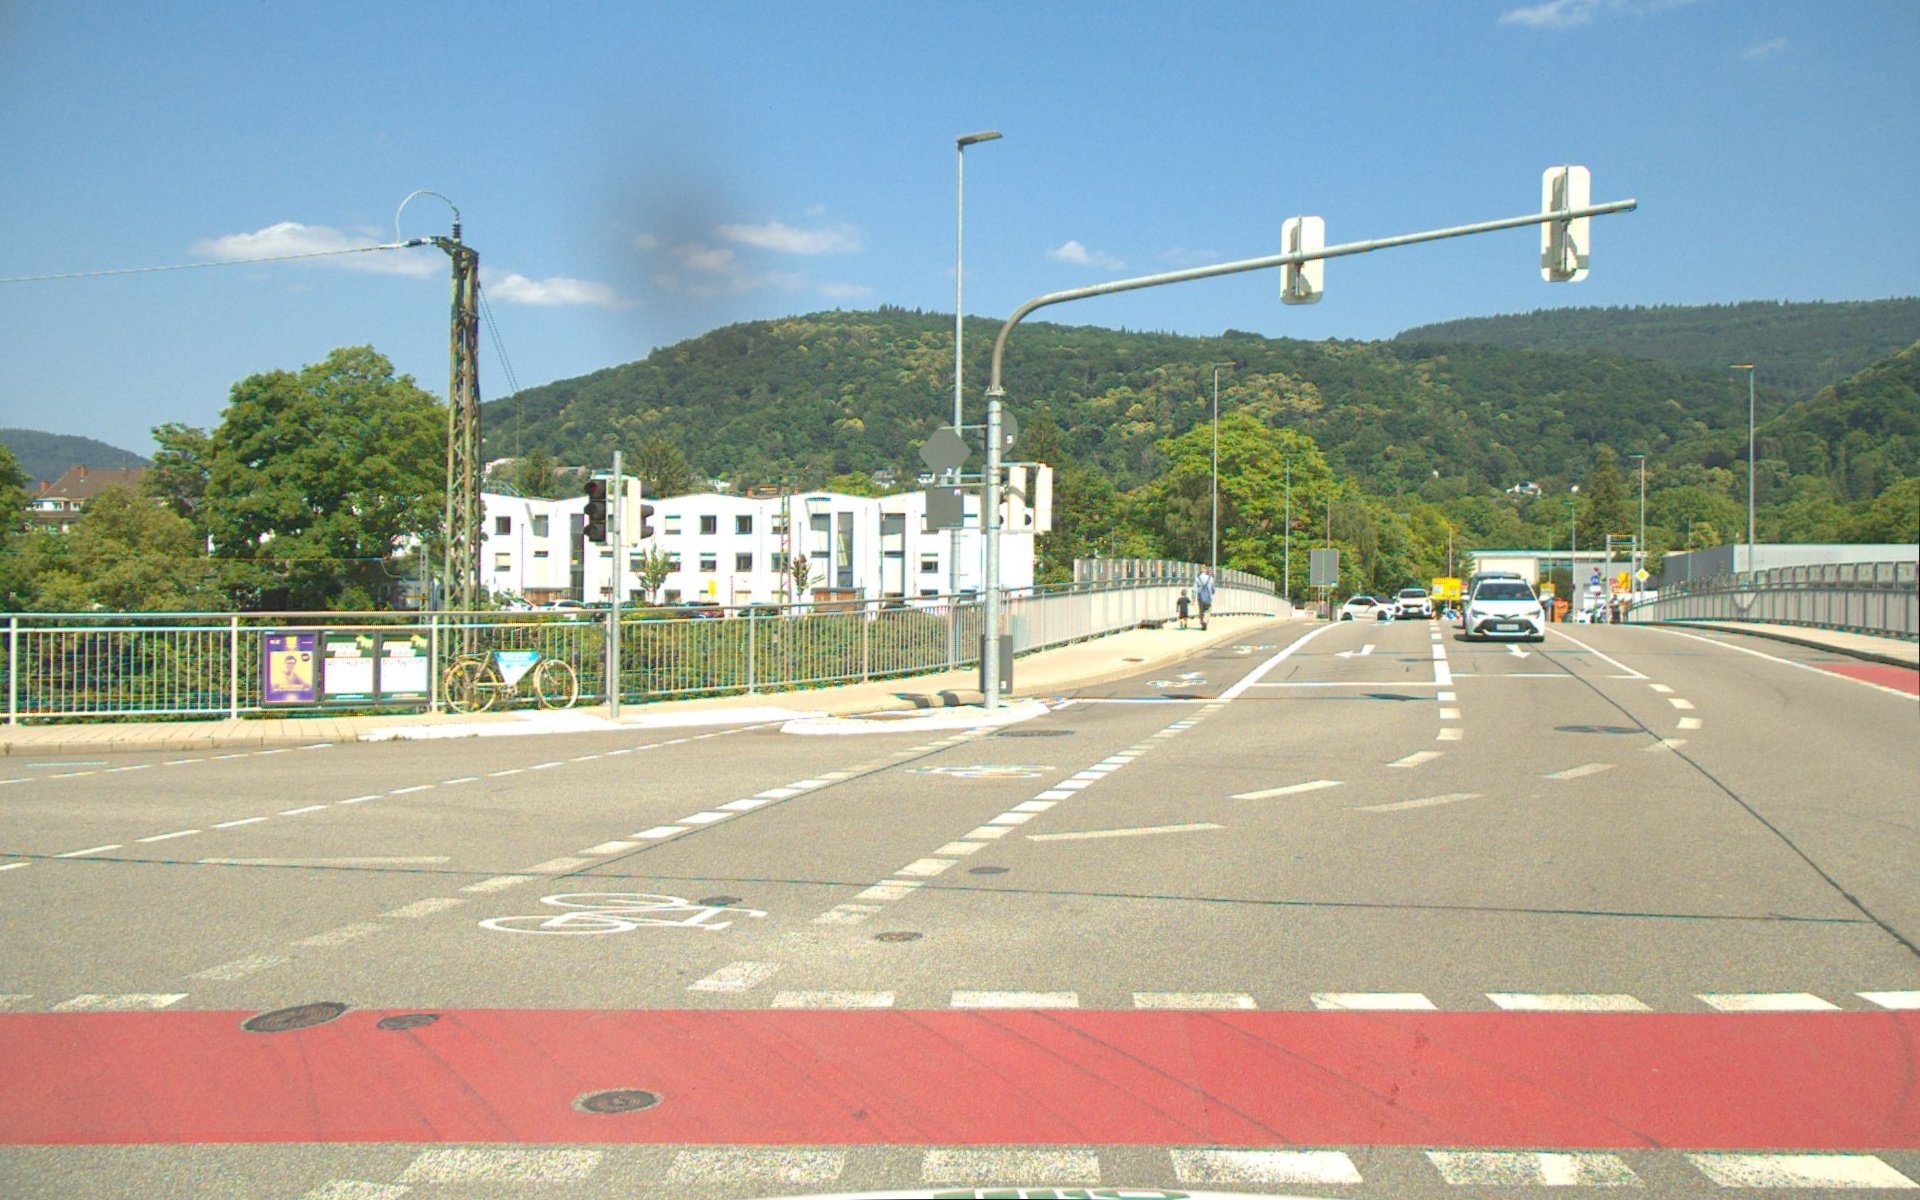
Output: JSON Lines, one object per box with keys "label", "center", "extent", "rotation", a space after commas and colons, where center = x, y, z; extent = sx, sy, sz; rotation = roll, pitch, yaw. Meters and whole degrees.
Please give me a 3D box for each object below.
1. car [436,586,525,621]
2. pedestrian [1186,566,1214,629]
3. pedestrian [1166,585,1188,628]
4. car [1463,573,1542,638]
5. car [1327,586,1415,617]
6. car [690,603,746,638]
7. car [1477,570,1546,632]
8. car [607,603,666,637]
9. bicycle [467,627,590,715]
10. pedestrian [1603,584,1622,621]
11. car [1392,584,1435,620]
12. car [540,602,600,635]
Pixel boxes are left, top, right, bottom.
{"label": "car", "center": [-29.475, 0.211, 101.739], "extent": [4.876, 2.149, 1.999], "rotation": [0, 0, -4]}
{"label": "pedestrian", "center": [6.374, -0.071, 43.963], "extent": [0.630, 1.646, 0.921], "rotation": [0, 0, 15]}
{"label": "pedestrian", "center": [5.766, 0.166, 43.958], "extent": [0.500, 1.141, 0.477], "rotation": [0, 0, 15]}
{"label": "car", "center": [13.063, 0.108, 40.007], "extent": [1.694, 1.495, 4.413], "rotation": [0, 0, 17]}
{"label": "car", "center": [23.892, 0.089, 96.257], "extent": [1.976, 1.749, 5.003], "rotation": [0, 0, -34]}
{"label": "car", "center": [-15.059, 1.251, 103.117], "extent": [1.951, 2.049, 4.474], "rotation": [0, 0, 13]}
{"label": "car", "center": [15.465, 0.014, 46.535], "extent": [1.694, 1.655, 4.445], "rotation": [0, 0, 17]}
{"label": "car", "center": [-20.384, 1.222, 104.359], "extent": [1.951, 2.049, 4.474], "rotation": [0, 0, 13]}
{"label": "bicycle", "center": [-5.789, 0.936, 22.230], "extent": [1.602, 1.120, 0.294], "rotation": [0, 0, -36]}
{"label": "pedestrian", "center": [36.383, 0.134, 92.224], "extent": [0.837, 2.049, 1.156], "rotation": [0, 0, 15]}
{"label": "car", "center": [22.760, 0.058, 83.109], "extent": [1.951, 1.749, 4.637], "rotation": [0, 0, 14]}
{"label": "car", "center": [-25.276, 1.183, 107.368], "extent": [1.951, 2.049, 4.474], "rotation": [0, 0, 13]}
